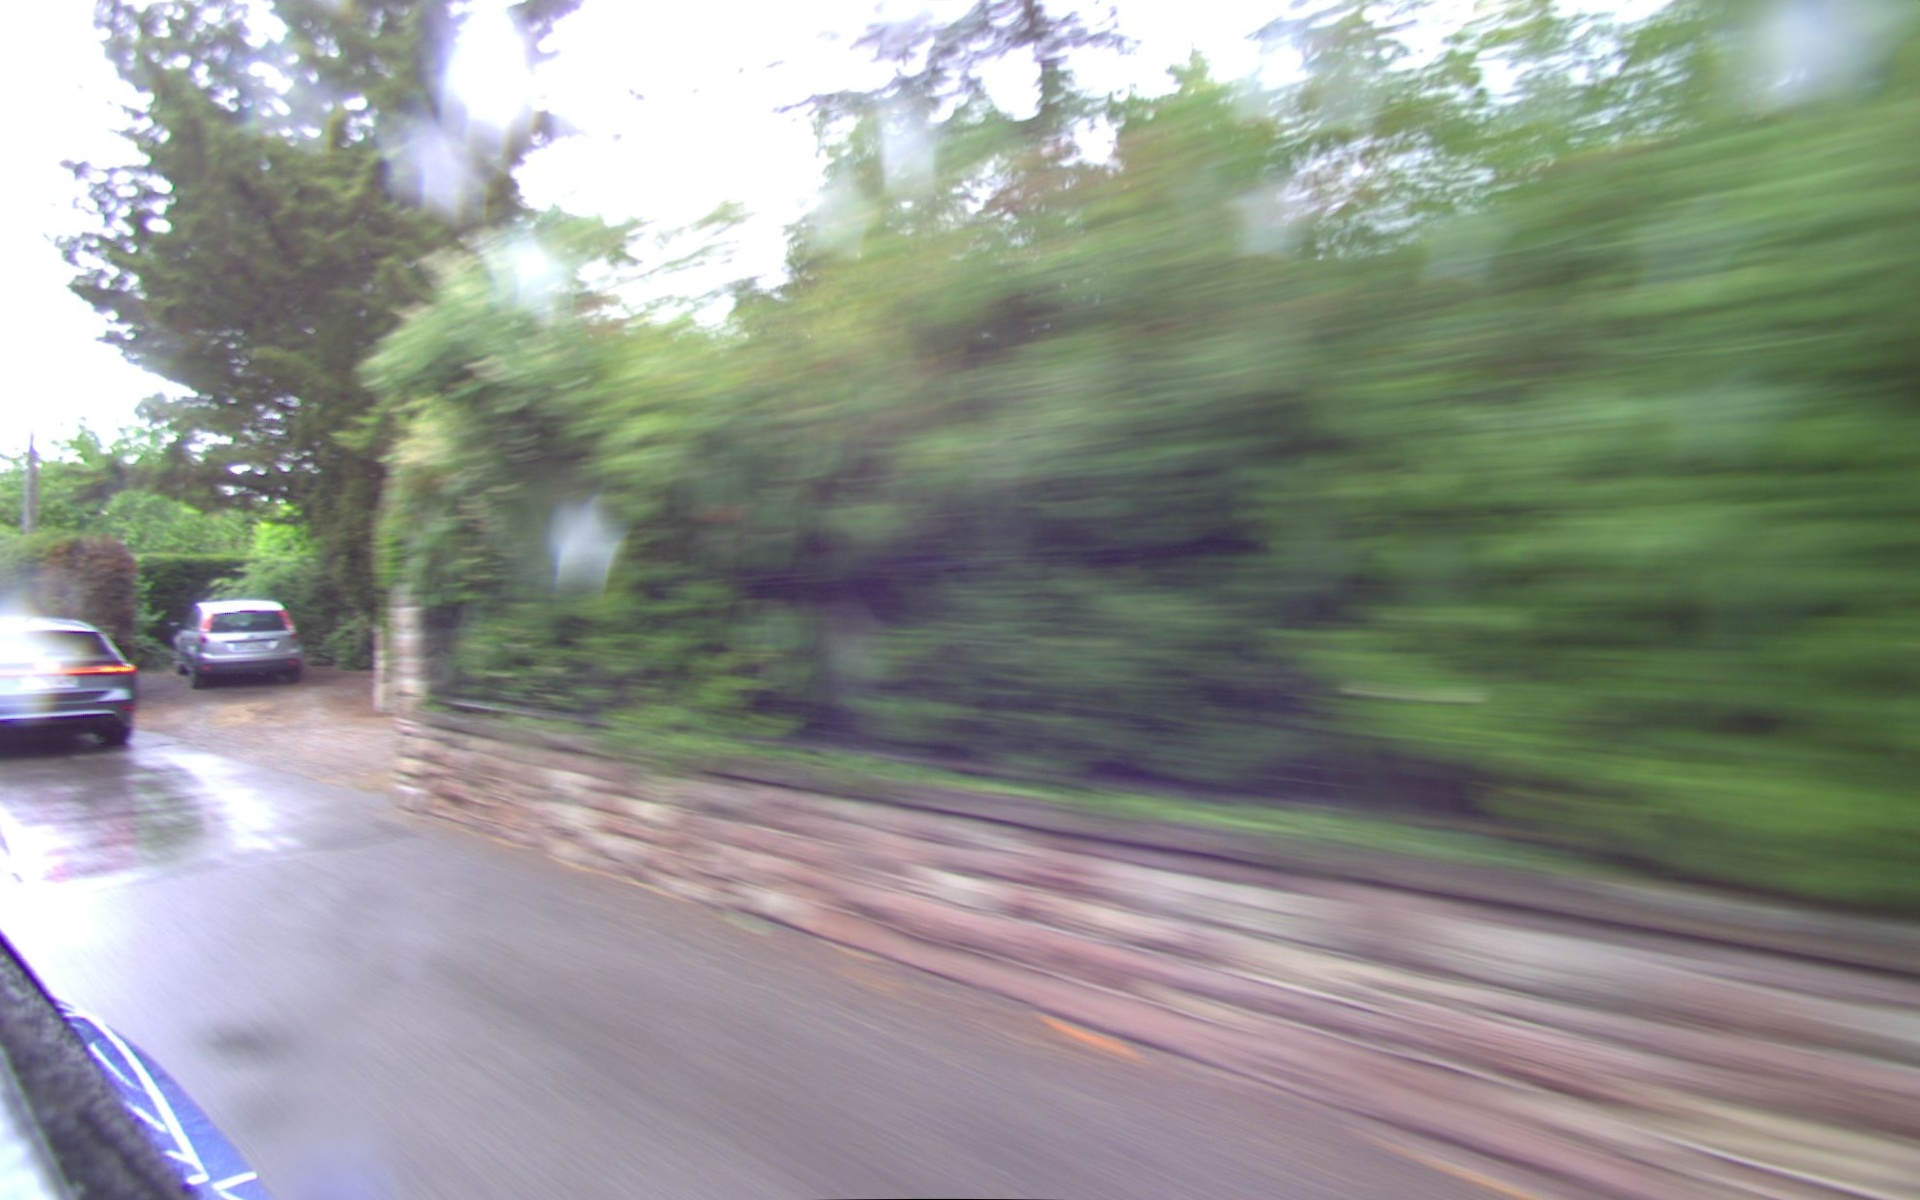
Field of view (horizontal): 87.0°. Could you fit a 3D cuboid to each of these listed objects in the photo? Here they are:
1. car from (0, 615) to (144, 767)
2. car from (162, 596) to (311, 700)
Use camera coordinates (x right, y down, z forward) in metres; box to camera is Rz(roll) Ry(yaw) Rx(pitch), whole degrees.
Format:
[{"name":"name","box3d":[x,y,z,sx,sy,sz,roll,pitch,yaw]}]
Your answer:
[{"name":"car","box3d":[-11.576,0.972,12.050,4.414,1.535,1.871,0,-1,37]},{"name":"car","box3d":[-13.563,0.801,18.899,1.763,1.537,3.661,-3,5,-43]}]
